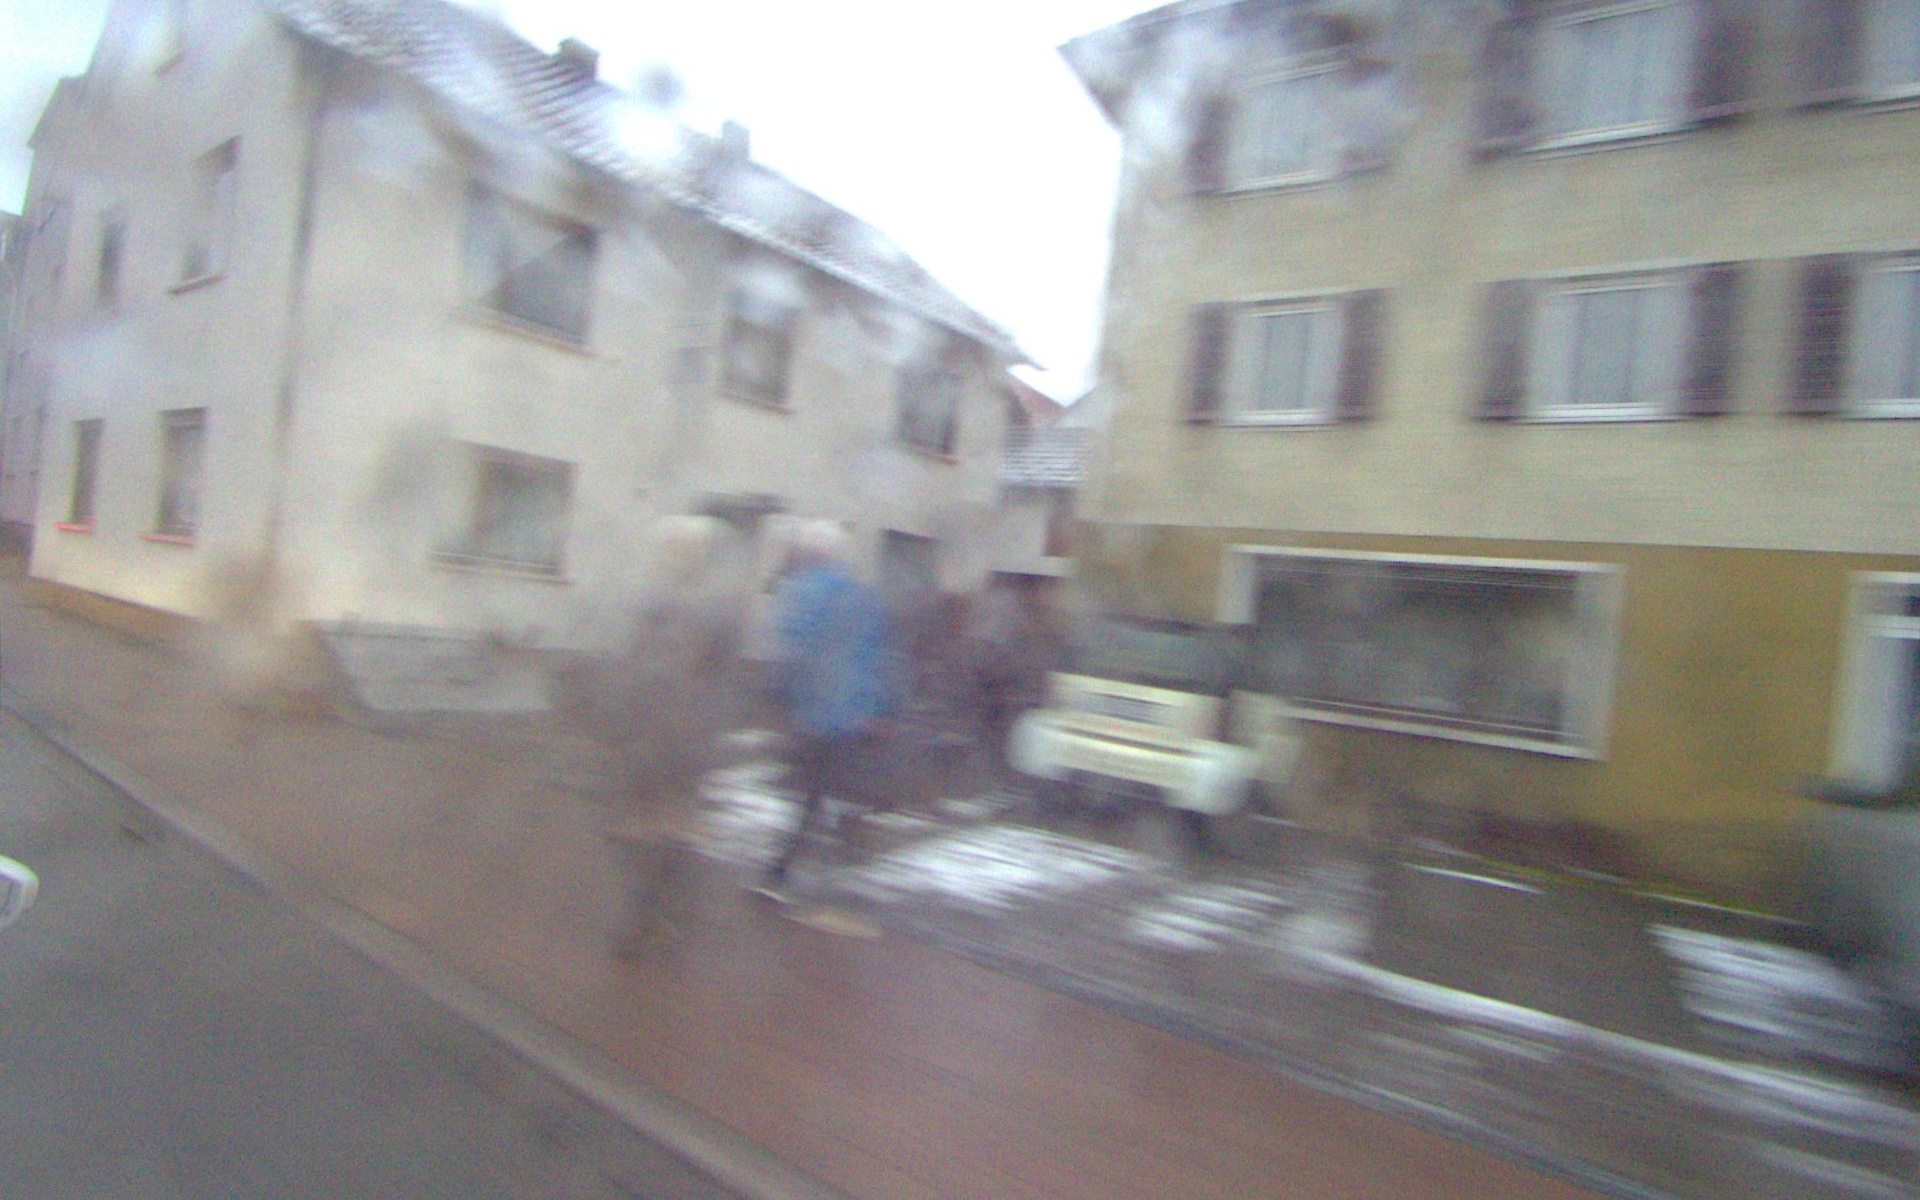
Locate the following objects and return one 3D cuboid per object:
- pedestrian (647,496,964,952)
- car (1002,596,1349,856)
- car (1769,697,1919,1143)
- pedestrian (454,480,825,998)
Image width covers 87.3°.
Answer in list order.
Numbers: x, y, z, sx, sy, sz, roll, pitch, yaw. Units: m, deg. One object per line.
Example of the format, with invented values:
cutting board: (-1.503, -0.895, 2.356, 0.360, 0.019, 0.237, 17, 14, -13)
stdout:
pedestrian: (-0.696, 0.479, 4.529, 0.957, 1.757, 0.847, 7, 3, 38)
car: (1.885, 0.894, 8.071, 1.562, 1.492, 3.218, 7, 0, 33)
car: (5.037, 1.330, 4.439, 1.722, 1.492, 3.902, 7, 0, 33)
pedestrian: (-1.249, 0.446, 3.924, 0.977, 1.689, 0.866, 7, 3, 38)
